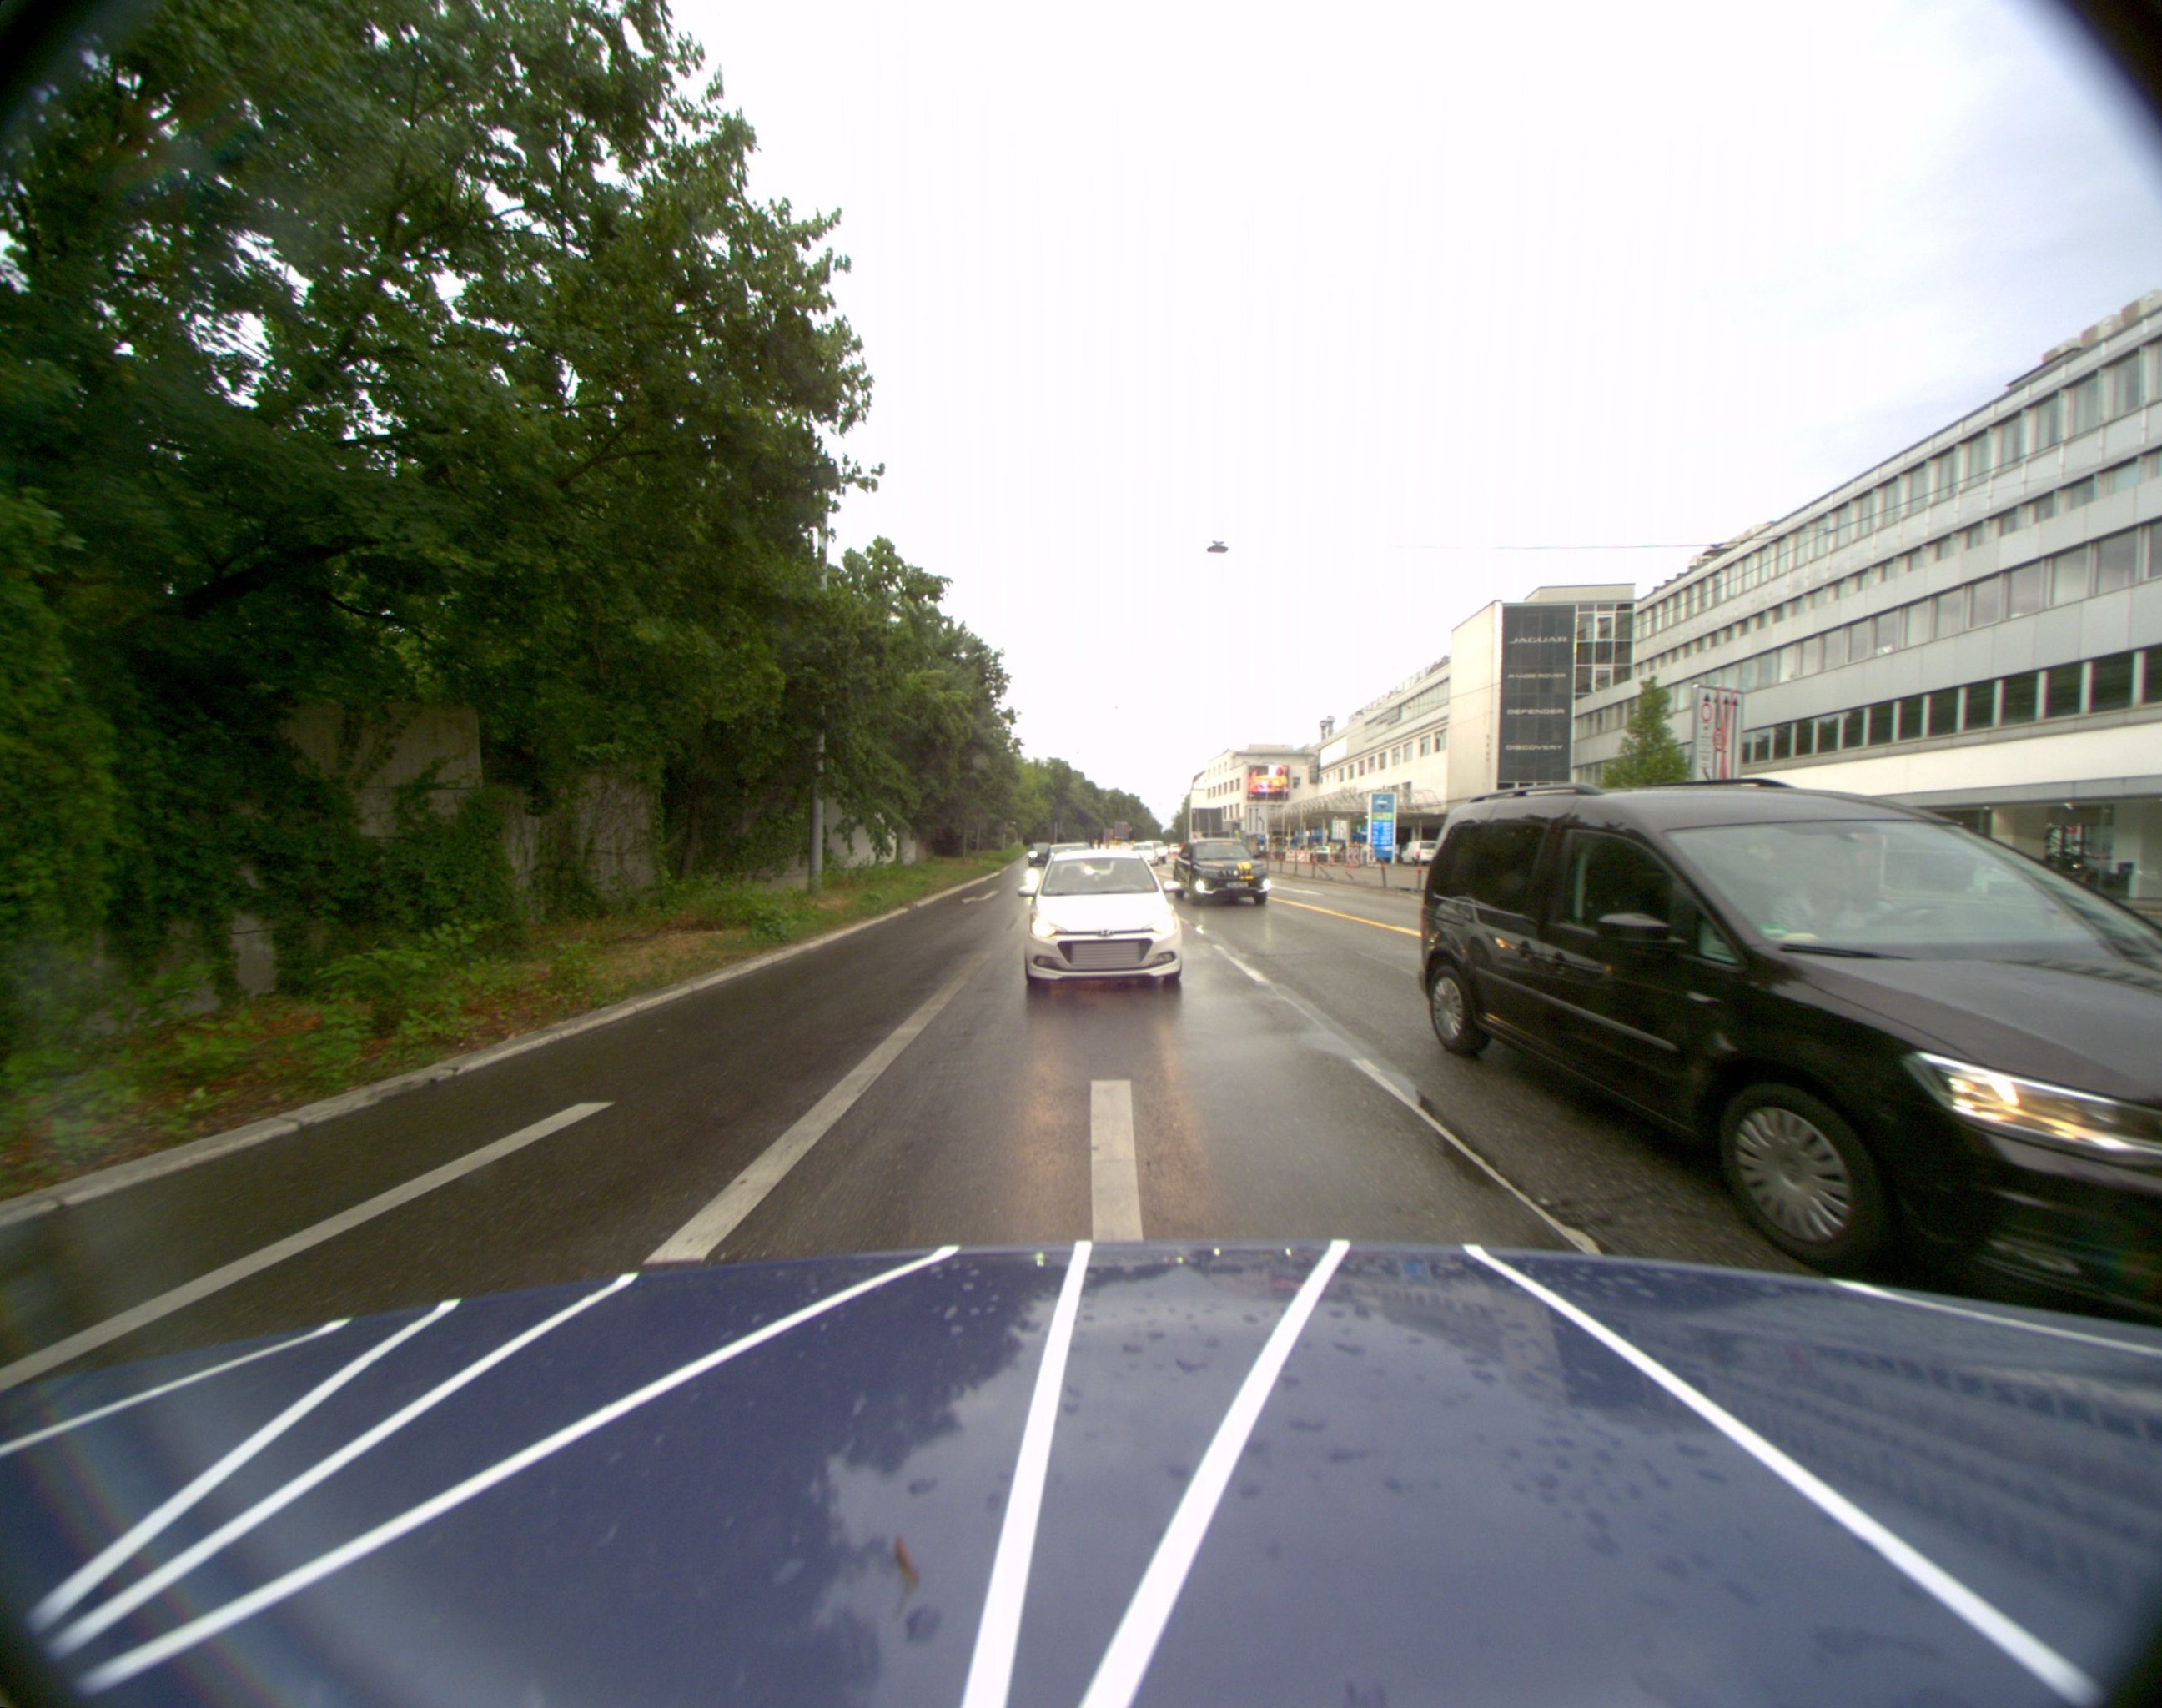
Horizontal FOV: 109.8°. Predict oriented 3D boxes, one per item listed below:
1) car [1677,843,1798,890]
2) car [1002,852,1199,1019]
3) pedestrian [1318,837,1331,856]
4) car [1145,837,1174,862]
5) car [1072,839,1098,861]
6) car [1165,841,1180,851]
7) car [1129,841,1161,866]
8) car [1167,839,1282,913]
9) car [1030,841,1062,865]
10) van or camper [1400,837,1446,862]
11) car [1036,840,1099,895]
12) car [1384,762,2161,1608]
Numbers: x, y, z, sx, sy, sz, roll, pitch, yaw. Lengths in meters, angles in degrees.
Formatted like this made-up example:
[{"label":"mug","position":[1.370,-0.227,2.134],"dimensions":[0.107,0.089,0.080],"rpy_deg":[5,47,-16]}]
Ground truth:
[{"label":"car","position":[28.319,0.492,32.971],"dimensions":[1.922,1.805,4.166],"rpy_deg":[-2,1,6]},{"label":"car","position":[0.227,0.772,9.365],"dimensions":[1.814,1.444,4.332],"rpy_deg":[-2,1,1]},{"label":"pedestrian","position":[23.637,-0.745,73.794],"dimensions":[0.895,1.804,0.941],"rpy_deg":[-2,2,5]},{"label":"car","position":[5.645,-0.350,55.268],"dimensions":[1.771,1.628,4.333],"rpy_deg":[-2,1,2]},{"label":"car","position":[0.337,-0.355,58.650],"dimensions":[1.814,1.590,4.333],"rpy_deg":[-2,1,2]},{"label":"car","position":[13.895,-1.227,115.191],"dimensions":[1.805,1.523,3.764],"rpy_deg":[2,1,0]},{"label":"car","position":[4.004,-0.079,48.301],"dimensions":[1.771,1.407,4.333],"rpy_deg":[-2,1,2]},{"label":"car","position":[3.474,0.453,19.224],"dimensions":[1.814,1.590,4.331],"rpy_deg":[-2,1,-3]},{"label":"car","position":[-2.410,-0.098,53.464],"dimensions":[1.814,1.590,4.333],"rpy_deg":[-2,1,2]},{"label":"van or camper","position":[27.297,-0.392,60.868],"dimensions":[1.939,1.913,4.685],"rpy_deg":[0,1,5]},{"label":"car","position":[-0.366,0.378,25.279],"dimensions":[1.814,1.590,4.333],"rpy_deg":[-2,1,2]},{"label":"car","position":[3.289,0.630,3.716],"dimensions":[1.905,1.804,4.430],"rpy_deg":[-2,1,2]}]
